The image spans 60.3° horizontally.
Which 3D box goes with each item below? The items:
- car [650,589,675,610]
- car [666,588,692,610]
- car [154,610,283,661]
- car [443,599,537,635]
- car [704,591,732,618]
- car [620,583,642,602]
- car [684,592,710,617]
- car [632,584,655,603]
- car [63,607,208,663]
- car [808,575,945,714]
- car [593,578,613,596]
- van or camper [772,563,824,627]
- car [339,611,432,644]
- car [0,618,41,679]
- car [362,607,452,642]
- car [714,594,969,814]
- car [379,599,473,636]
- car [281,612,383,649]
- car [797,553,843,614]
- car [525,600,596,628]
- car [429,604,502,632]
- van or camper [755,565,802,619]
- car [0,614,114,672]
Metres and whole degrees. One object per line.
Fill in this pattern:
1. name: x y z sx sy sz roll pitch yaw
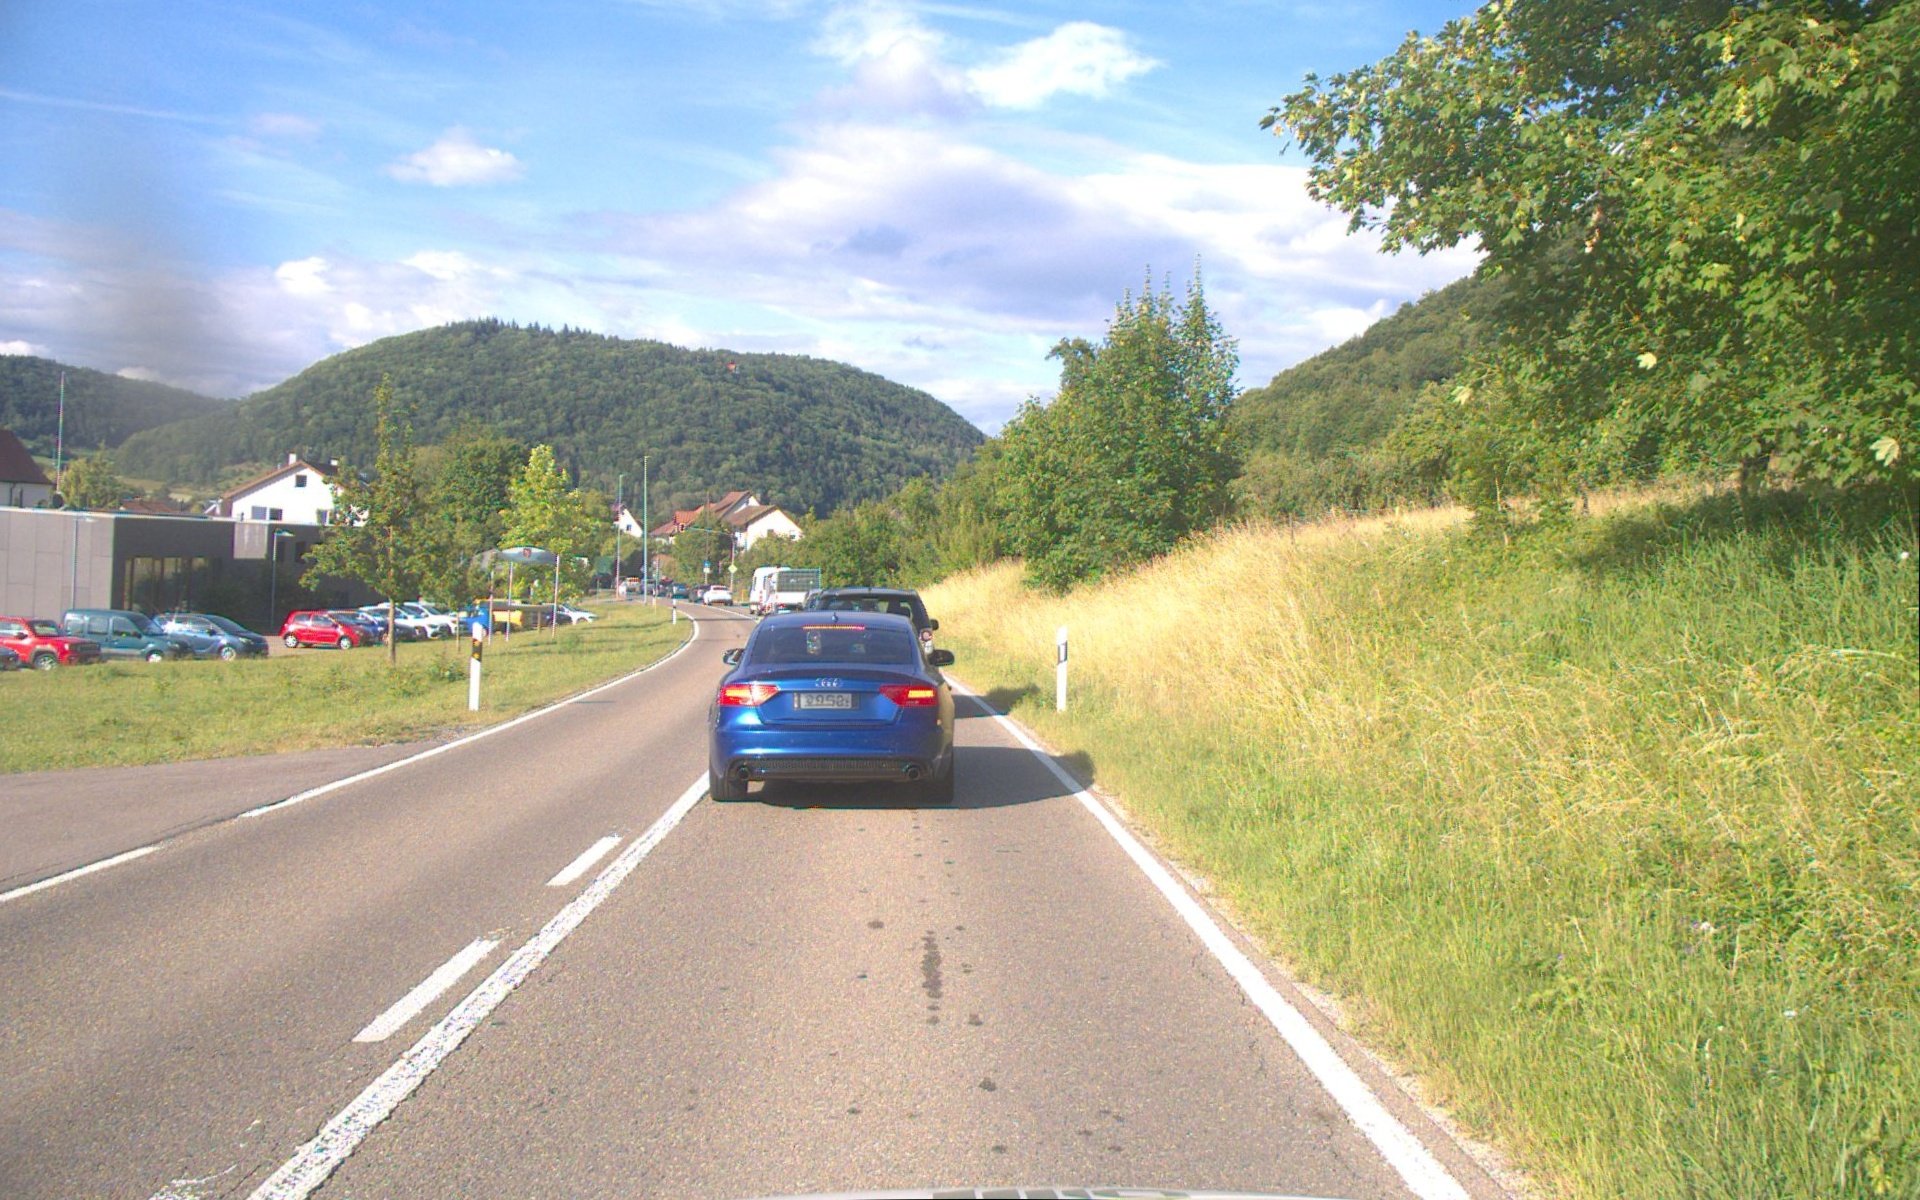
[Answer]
1. car: -28.281 -0.010 157.308 1.652 1.958 3.976 -1 0 -20
2. car: -25.191 -0.109 148.173 1.634 1.958 3.978 -1 0 -19
3. car: -26.059 1.246 58.211 3.738 1.752 1.732 0 0 2
4. car: -25.109 0.877 88.507 4.457 1.846 1.842 -1 0 3
5. car: -17.750 0.316 121.158 1.631 1.958 3.985 -1 0 -14
6. car: -35.155 -0.776 176.622 1.653 1.958 3.975 -1 0 -21
7. car: -21.045 0.335 132.381 1.632 1.958 3.983 -1 0 -16
8. car: -32.063 -0.654 167.504 1.653 1.958 3.975 -1 0 -21
9. car: -26.668 1.119 53.572 3.782 1.752 1.756 1 0 0
10. car: -1.123 0.541 21.850 1.613 1.653 3.514 2 0 -4
11. car: -41.674 -1.500 193.153 1.653 1.958 3.975 -1 0 -21
12. van or camper: -6.766 -0.210 68.765 2.013 2.549 5.803 -1 0 -7
13. car: -25.419 1.219 73.269 3.548 1.429 1.597 0 0 3
14. car: -27.860 1.313 45.062 4.544 1.616 2.001 0 0 2
15. car: -25.606 1.107 76.591 3.589 1.519 1.598 0 2 3
16. car: -0.906 0.702 12.932 1.708 1.476 3.514 0 0 -4
17. car: -25.817 0.836 80.050 3.991 1.702 1.598 0 2 3
18. car: -25.938 1.253 68.358 3.548 1.469 1.649 -1 0 3
19. car: -4.982 -0.576 58.380 1.537 2.049 3.995 -1 0 -6
20. car: -24.923 0.867 103.172 3.951 1.689 1.656 -1 0 3
21. car: -25.673 0.944 85.932 3.303 1.397 1.659 -1 0 -4
22. van or camper: -9.631 -0.421 87.440 2.238 2.761 5.755 -1 0 -9
23. car: -26.900 1.239 47.938 3.838 1.606 1.756 0 0 2
